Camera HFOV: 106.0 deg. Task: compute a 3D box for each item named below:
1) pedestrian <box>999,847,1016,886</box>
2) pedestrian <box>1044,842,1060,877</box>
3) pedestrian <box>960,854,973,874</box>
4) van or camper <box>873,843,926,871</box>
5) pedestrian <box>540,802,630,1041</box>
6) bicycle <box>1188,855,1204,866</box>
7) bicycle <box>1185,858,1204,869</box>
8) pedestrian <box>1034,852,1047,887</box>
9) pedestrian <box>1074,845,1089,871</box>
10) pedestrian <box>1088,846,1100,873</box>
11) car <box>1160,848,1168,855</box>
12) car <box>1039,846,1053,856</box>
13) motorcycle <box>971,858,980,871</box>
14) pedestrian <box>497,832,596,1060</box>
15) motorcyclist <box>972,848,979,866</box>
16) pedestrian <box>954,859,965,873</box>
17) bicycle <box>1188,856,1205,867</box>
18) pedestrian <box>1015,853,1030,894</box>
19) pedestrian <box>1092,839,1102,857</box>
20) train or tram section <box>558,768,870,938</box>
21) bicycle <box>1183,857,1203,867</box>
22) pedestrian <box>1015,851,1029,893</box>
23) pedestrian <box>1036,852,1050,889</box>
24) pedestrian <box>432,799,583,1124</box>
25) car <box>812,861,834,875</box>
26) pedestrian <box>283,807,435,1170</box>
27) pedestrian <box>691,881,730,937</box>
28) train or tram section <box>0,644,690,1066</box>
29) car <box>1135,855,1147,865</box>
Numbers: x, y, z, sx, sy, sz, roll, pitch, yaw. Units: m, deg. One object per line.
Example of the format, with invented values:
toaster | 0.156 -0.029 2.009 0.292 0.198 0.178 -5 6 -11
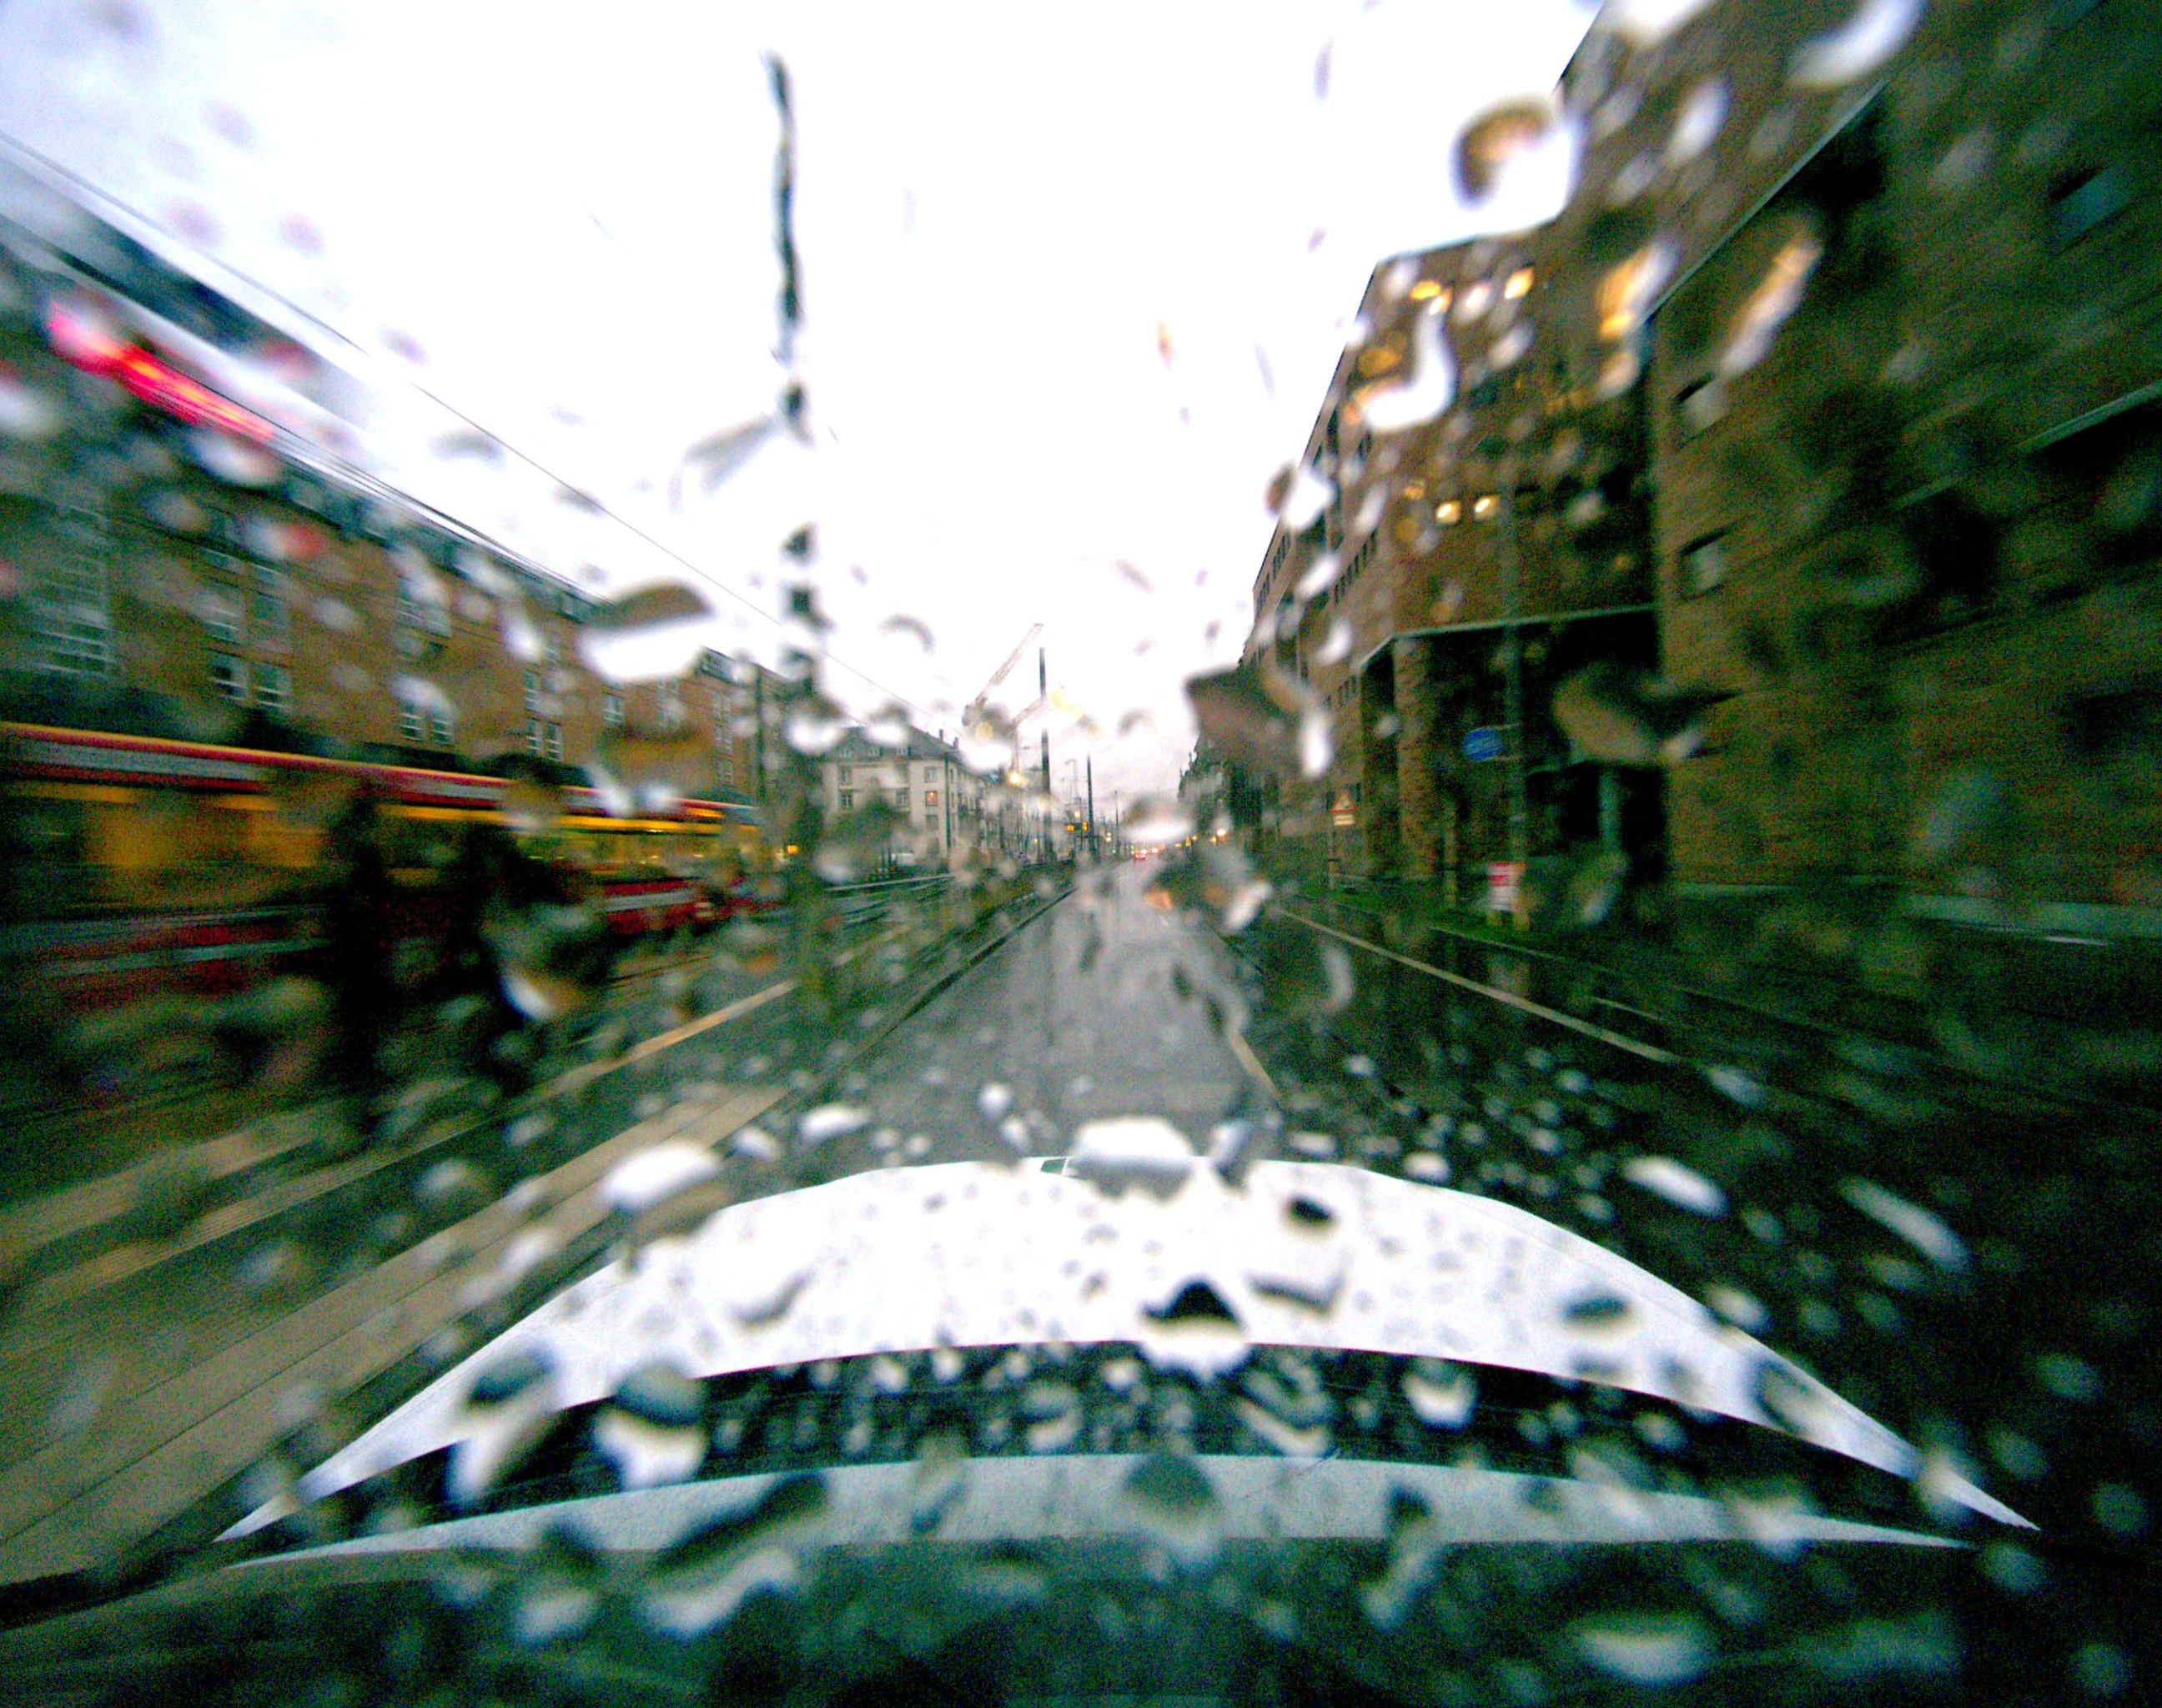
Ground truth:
pedestrian | -3.044 0.525 33.804 0.616 1.590 0.622 -2 0 2
pedestrian | -1.426 0.258 40.300 0.646 1.704 0.565 -1 0 -14
pedestrian | -8.772 0.773 62.347 0.639 1.524 0.748 0 0 -37
van or camper | -18.456 0.300 83.183 2.755 2.682 6.776 -1 0 12
pedestrian | -4.244 0.560 6.986 0.432 1.967 0.473 -2 0 -1
bicycle | 12.664 0.708 89.795 1.722 1.055 0.371 -3 0 3
bicycle | 12.716 1.100 91.159 1.999 1.095 0.425 -5 0 3
pedestrian | -1.963 0.740 39.638 0.538 1.692 0.644 -2 0 2
pedestrian | 0.017 0.254 54.632 0.777 1.704 0.769 -1 0 -14
pedestrian | 0.980 0.418 61.610 0.806 1.947 0.805 -2 0 5
car | 20.023 -0.619 197.387 1.789 1.604 3.777 -3 0 7
car | -5.093 -0.453 118.774 1.674 1.354 3.549 -1 0 4
motorcycle | -8.617 0.840 66.462 0.511 1.008 1.807 -1 0 1
pedestrian | -4.246 0.705 6.490 0.432 1.735 0.473 -2 0 -1
motorcyclist | -8.635 0.240 66.508 0.497 1.496 0.556 -1 0 -1
pedestrian | -9.307 0.918 62.190 0.611 1.103 0.585 0 0 -36
bicycle | 12.690 0.800 89.290 1.722 1.055 0.371 -3 0 3
pedestrian | -2.301 0.750 32.241 0.479 1.590 0.563 -2 0 2
pedestrian | 1.298 -0.489 66.970 0.679 1.516 0.617 -1 0 -8
train or tram section | -9.238 -0.026 22.800 2.886 3.568 11.050 -1 0 5
bicycle | 12.844 0.941 93.181 2.135 1.055 0.485 -3 0 3
pedestrian | -2.420 0.737 33.433 0.479 1.678 0.563 -2 0 2
pedestrian | -1.645 0.710 35.521 0.538 1.590 0.563 -2 0 2
pedestrian | -3.485 0.615 4.993 0.410 1.845 0.669 -2 0 -1
car | -28.910 1.578 91.352 1.599 1.430 4.134 -3 0 -7
pedestrian | -3.756 0.666 4.261 0.358 1.787 0.440 -2 0 -1
pedestrian | -7.919 1.169 17.430 0.577 1.152 0.491 -1 0 6
train or tram section | -10.189 0.007 11.754 2.911 3.578 11.050 -1 0 5
car | 9.963 1.025 134.721 1.775 1.467 3.154 -2 0 6
